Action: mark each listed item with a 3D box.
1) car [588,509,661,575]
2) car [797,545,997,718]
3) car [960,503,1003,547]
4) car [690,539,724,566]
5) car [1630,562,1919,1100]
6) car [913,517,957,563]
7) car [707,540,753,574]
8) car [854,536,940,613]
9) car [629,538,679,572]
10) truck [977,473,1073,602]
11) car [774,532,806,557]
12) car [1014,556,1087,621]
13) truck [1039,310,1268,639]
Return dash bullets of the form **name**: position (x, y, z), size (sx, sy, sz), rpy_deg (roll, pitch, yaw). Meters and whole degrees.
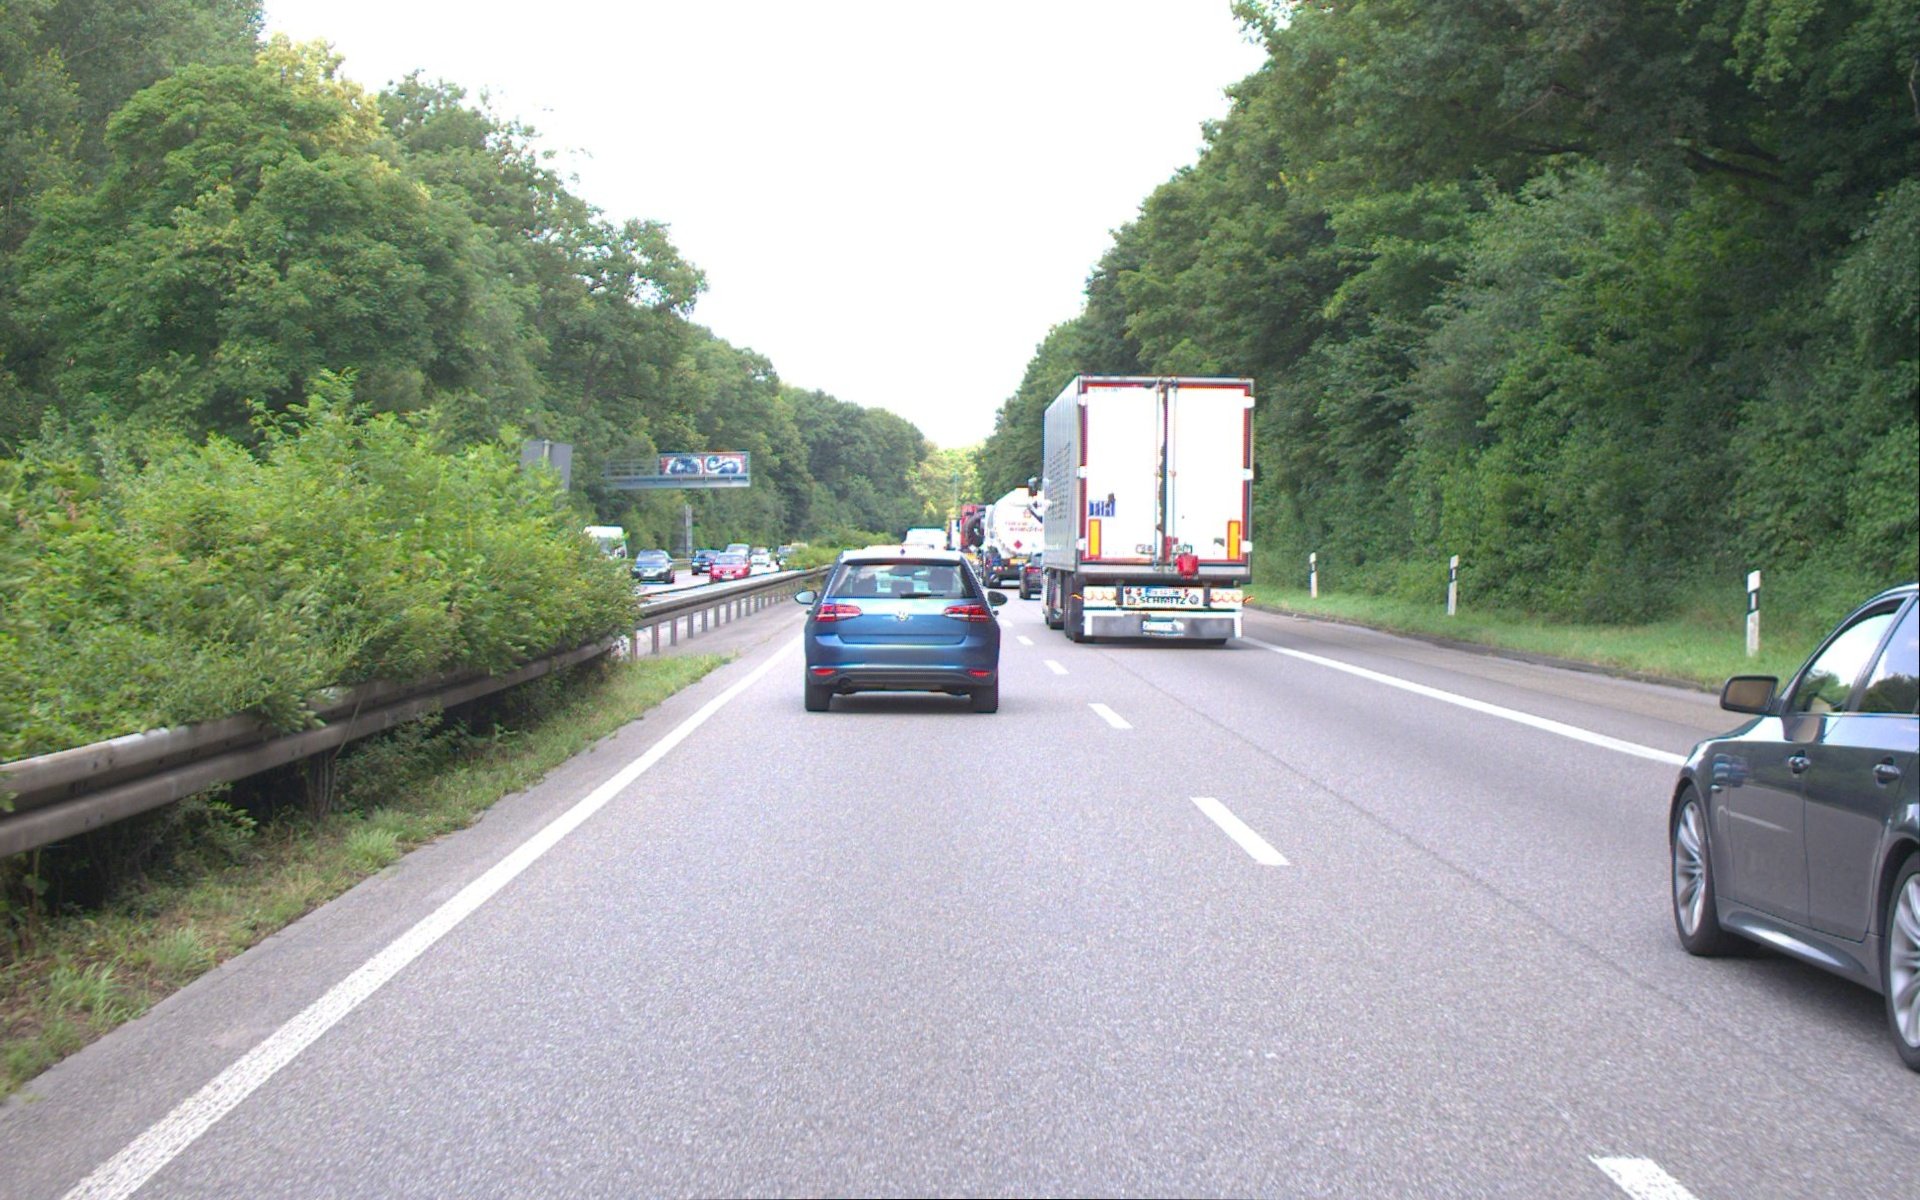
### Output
- **car**: position (-12.502, -2.171, 128.569), size (2.111, 2.414, 5.831), rpy_deg (-1, 1, 0)
- **car**: position (-0.581, 0.240, 31.681), size (1.705, 1.465, 4.000), rpy_deg (1, 1, -1)
- **car**: position (1.109, -3.996, 182.842), size (1.993, 2.319, 4.443), rpy_deg (-1, 1, -3)
- **car**: position (-14.685, -2.770, 199.681), size (1.680, 1.514, 4.859), rpy_deg (-1, 1, -1)
- **car**: position (3.559, 0.645, 11.034), size (1.774, 1.470, 4.881), rpy_deg (1, 1, -1)
- **car**: position (-1.247, -3.013, 171.387), size (1.993, 2.247, 4.443), rpy_deg (-1, 1, -3)
- **car**: position (-9.954, -1.872, 149.205), size (1.678, 1.449, 4.128), rpy_deg (1, 1, 0)
- **car**: position (-1.249, -0.534, 69.259), size (1.665, 1.495, 4.152), rpy_deg (0, 1, 0)
- **car**: position (-13.883, -2.064, 156.199), size (1.786, 1.473, 4.570), rpy_deg (-1, 1, 1)
- **truck**: position (2.255, -2.193, 123.310), size (3.232, 4.371, 12.970), rpy_deg (0, 1, 0)
- **car**: position (-10.570, -3.435, 213.896), size (1.781, 1.514, 4.267), rpy_deg (-1, 1, -1)
- **car**: position (2.495, -0.337, 95.824), size (1.888, 1.723, 4.000), rpy_deg (-1, 1, 0)
- **truck**: position (2.950, -1.939, 55.221), size (3.242, 4.700, 11.007), rpy_deg (-1, 1, 2)
